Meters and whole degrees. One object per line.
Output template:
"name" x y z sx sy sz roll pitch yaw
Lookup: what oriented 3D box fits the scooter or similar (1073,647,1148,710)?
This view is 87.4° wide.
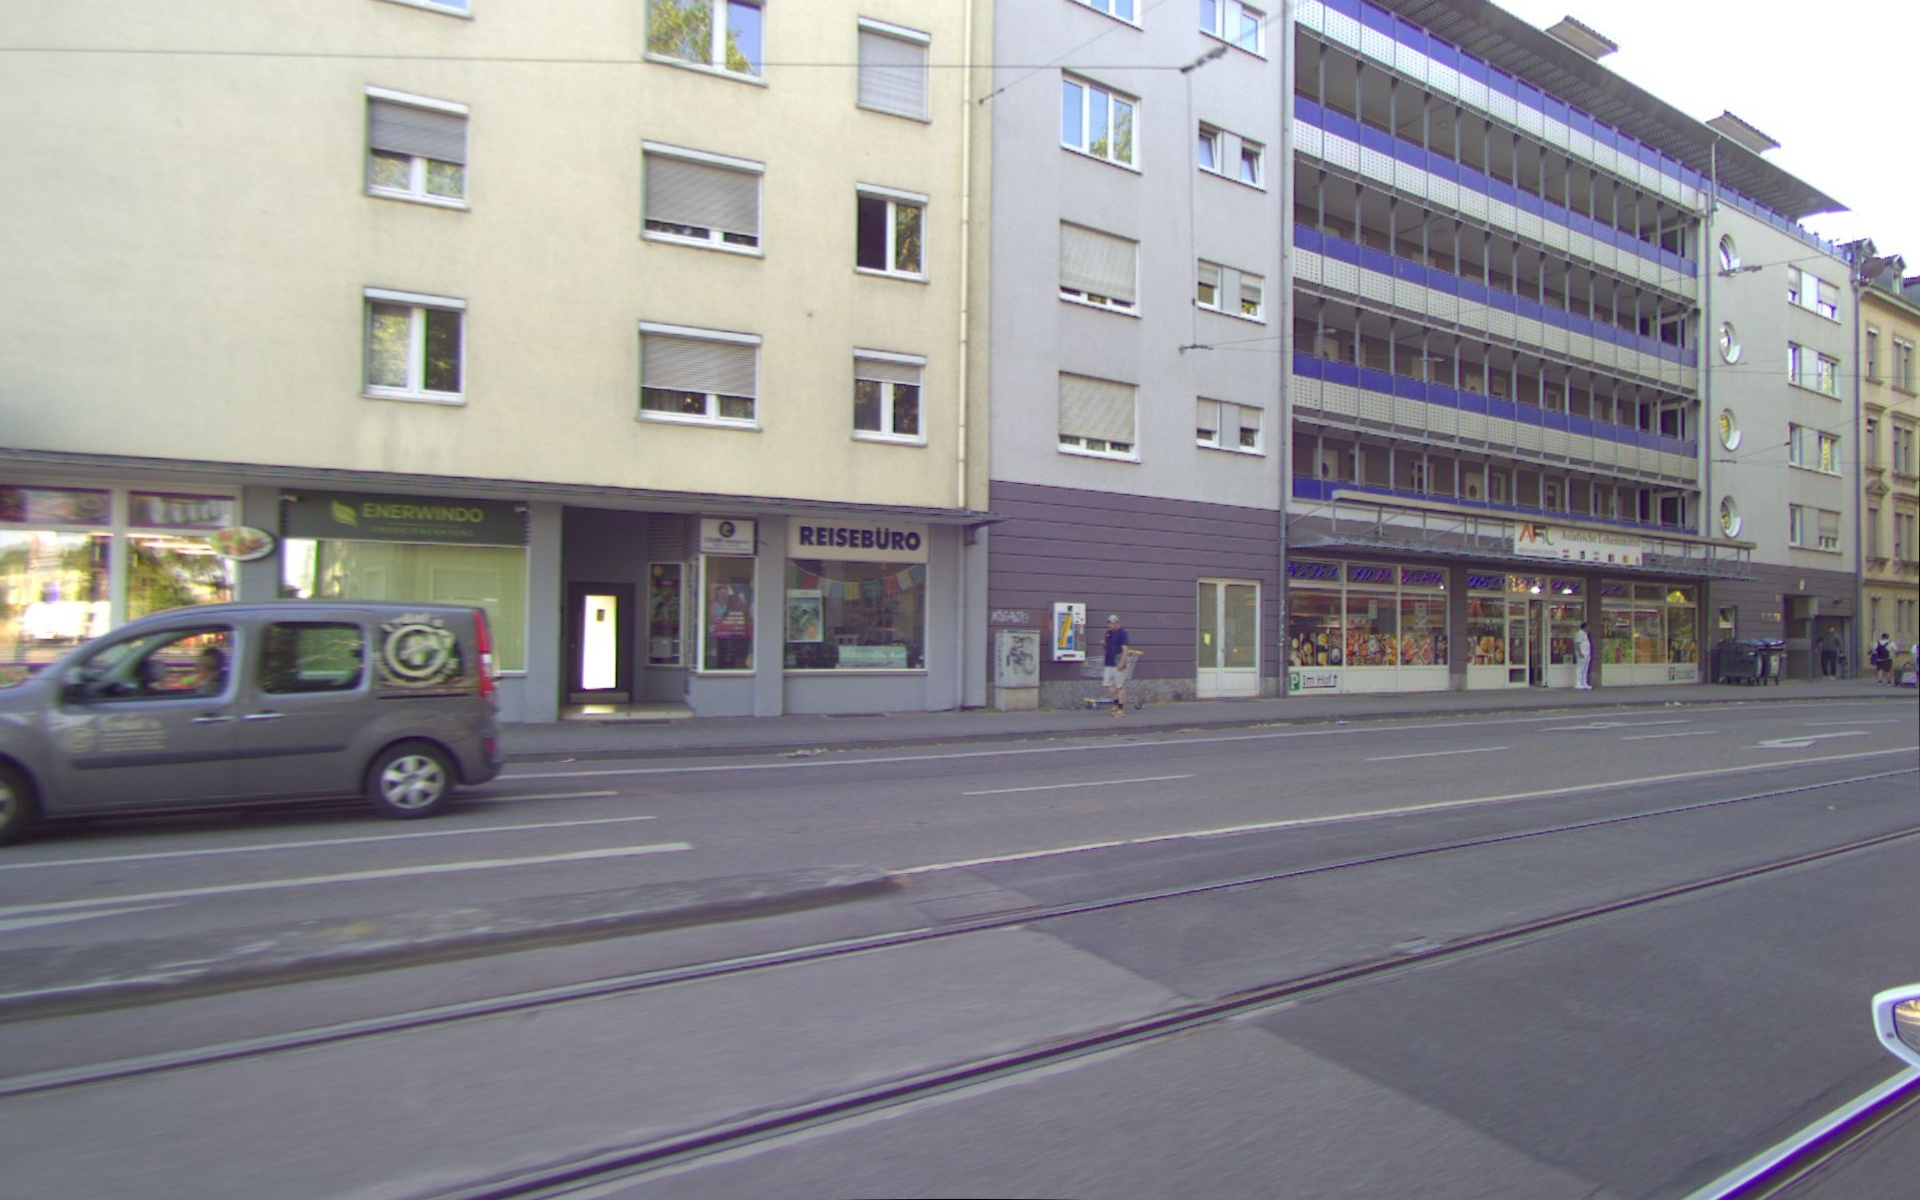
"scooter or similar" 2.748 1.413 18.333 1.150 1.070 0.725 2 0 -31

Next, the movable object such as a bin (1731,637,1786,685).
"movable object such as a bin" 25.132 1.894 31.623 1.199 1.470 1.050 2 -2 -35

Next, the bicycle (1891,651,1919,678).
"bicycle" 36.655 2.446 38.425 2.106 0.984 0.646 1 -1 -20

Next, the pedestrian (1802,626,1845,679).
"pedestrian" 31.378 1.891 36.494 0.720 1.838 0.958 1 0 -29

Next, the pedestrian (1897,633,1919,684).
"pedestrian" 31.590 1.933 33.115 0.673 1.654 0.729 2 0 4

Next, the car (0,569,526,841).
"car" -5.952 0.786 8.336 4.171 1.856 1.986 2 -3 -28

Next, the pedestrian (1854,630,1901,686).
"pedestrian" 30.510 1.917 33.400 0.723 1.808 0.865 1 0 -11

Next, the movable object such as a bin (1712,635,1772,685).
"movable object such as a bin" 23.941 1.827 30.760 1.202 1.470 1.132 2 -2 -35

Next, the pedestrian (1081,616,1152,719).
"pedestrian" 2.705 1.144 17.398 0.893 1.696 0.712 1 2 -29

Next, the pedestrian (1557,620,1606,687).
"pedestrian" 16.773 1.426 27.131 0.810 1.736 0.783 1 1 -31
